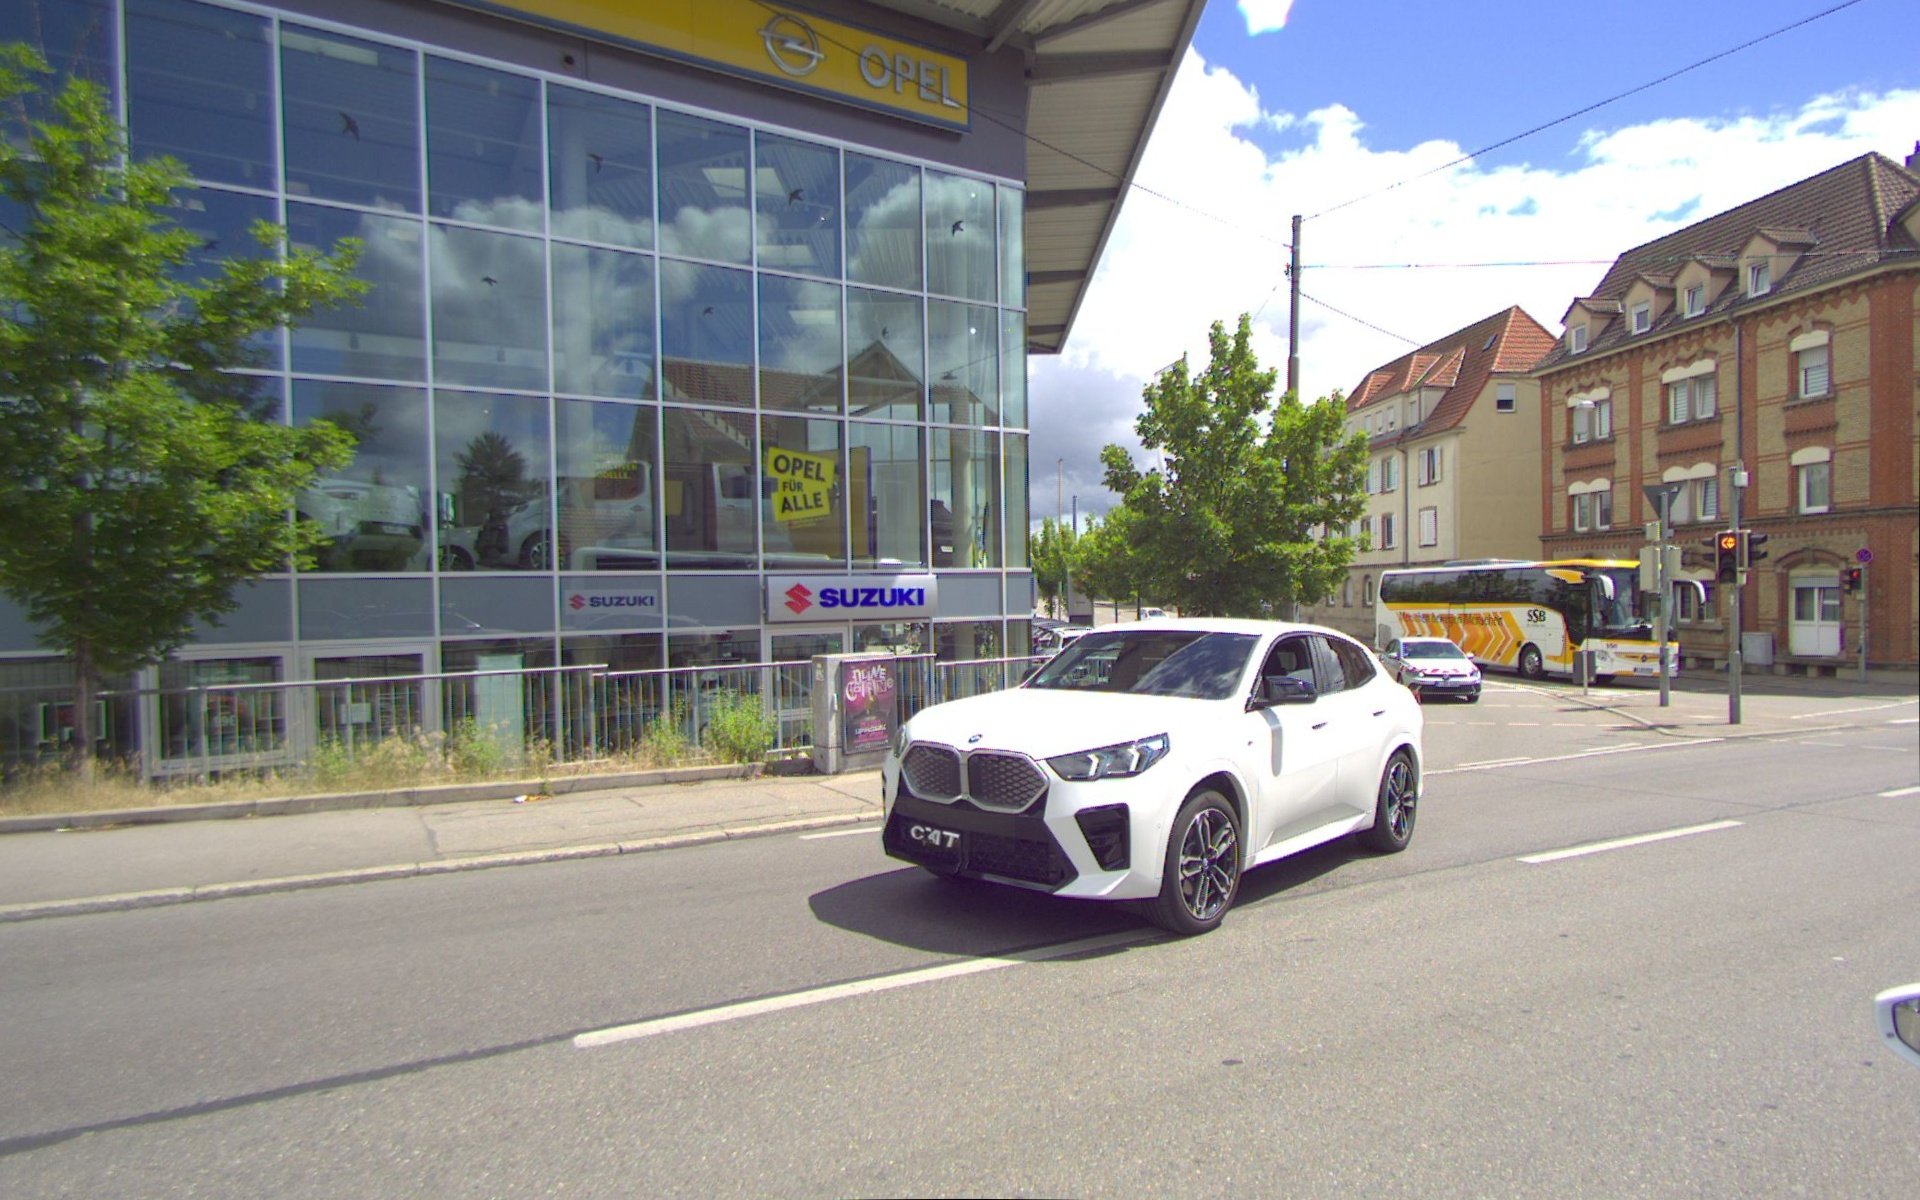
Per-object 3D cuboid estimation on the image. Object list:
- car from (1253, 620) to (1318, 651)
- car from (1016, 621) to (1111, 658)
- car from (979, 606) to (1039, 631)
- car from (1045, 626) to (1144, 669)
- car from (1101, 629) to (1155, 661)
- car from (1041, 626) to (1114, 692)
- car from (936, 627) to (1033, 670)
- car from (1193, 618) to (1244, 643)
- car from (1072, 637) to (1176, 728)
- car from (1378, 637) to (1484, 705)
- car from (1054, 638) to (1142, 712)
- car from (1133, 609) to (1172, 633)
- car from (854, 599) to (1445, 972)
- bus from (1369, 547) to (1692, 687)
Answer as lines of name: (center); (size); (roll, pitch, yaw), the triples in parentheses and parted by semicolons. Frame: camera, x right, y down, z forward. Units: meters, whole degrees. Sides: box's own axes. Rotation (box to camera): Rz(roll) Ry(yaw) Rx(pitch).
car: (15.913, 1.710, 49.266); (1.717, 1.428, 3.999); (1, -1, -3)
car: (4.606, 1.747, 45.084); (3.925, 1.574, 1.806); (1, -1, -7)
car: (3.254, 1.254, 67.580); (3.922, 1.574, 1.807); (1, -1, -1)
car: (4.967, 1.762, 37.419); (3.430, 1.497, 1.800); (1, -1, 1)
car: (8.133, 2.158, 48.943); (1.766, 1.467, 3.498); (1, -1, -5)
car: (3.345, 1.658, 29.134); (1.620, 1.703, 3.499); (-1, 0, -2)
car: (0.857, 1.764, 36.947); (3.432, 1.467, 1.799); (-1, 0, -3)
car: (15.353, 1.807, 59.807); (1.874, 1.428, 3.999); (1, -1, -2)
car: (3.315, 1.639, 20.853); (1.648, 1.582, 3.365); (-1, 0, 1)
car: (11.317, 1.650, 24.354); (1.847, 1.437, 3.622); (0, -1, 17)
car: (3.308, 1.768, 24.646); (1.584, 1.547, 3.499); (-1, 0, -2)
car: (13.660, 1.494, 71.317); (1.874, 1.574, 3.999); (1, -1, -2)
car: (1.508, 0.861, 6.466); (1.807, 1.572, 4.284); (-2, -3, 42)
bus: (17.708, 0.522, 32.862); (2.719, 3.670, 12.255); (1, -1, -5)
